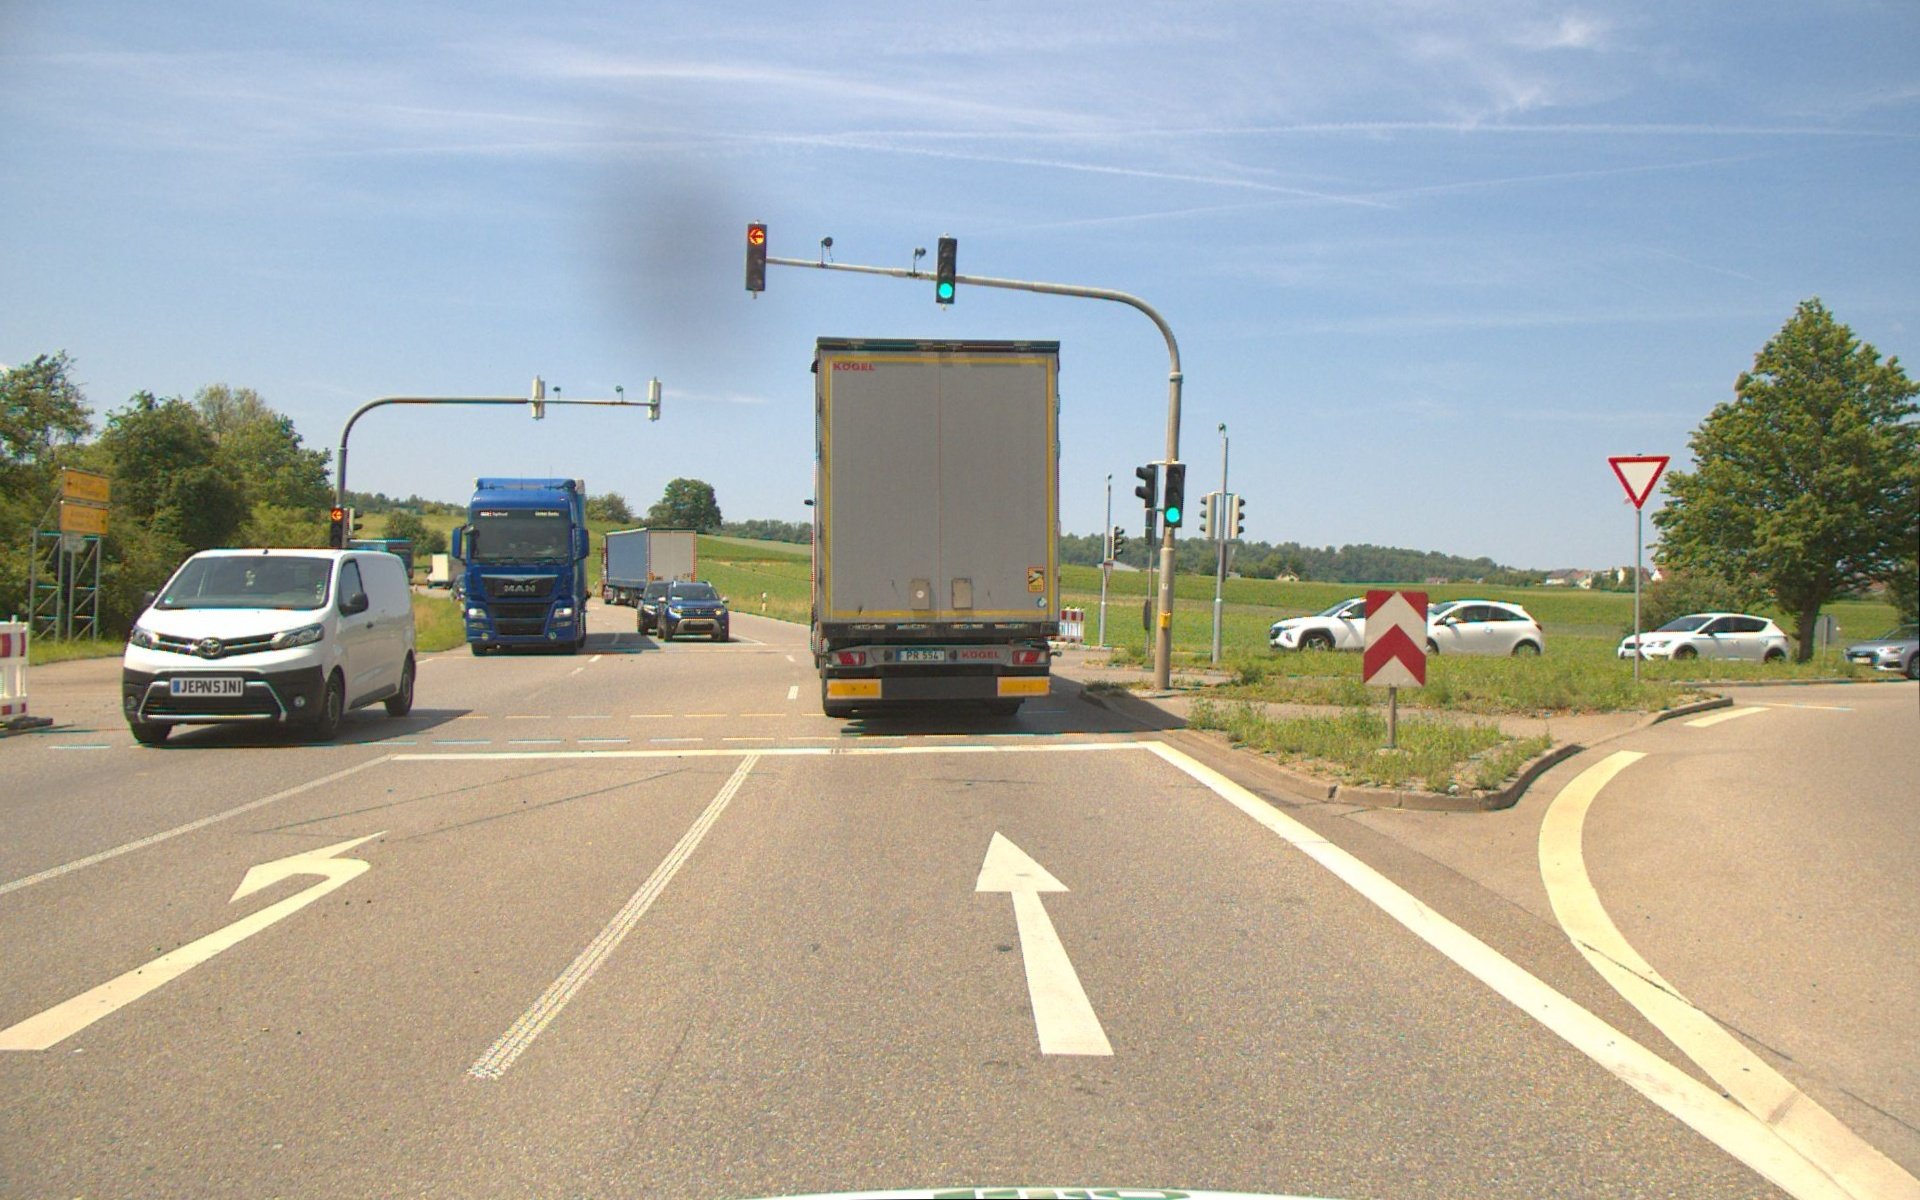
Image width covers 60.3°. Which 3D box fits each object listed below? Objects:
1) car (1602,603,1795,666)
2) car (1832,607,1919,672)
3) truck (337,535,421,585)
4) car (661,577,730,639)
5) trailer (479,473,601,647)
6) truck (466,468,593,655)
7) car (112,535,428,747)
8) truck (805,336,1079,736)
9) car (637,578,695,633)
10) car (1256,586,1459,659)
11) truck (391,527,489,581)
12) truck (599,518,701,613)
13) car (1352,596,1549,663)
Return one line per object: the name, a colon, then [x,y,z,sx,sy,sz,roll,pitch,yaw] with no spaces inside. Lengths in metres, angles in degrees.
car: [17.517,0.819,39.272,4.028,1.444,1.792,1,-1,-18]
car: [24.016,1.020,41.076,4.486,1.536,1.788,2,-2,-23]
truck: [-55.211,-3.720,156.785,3.504,4.315,13.223,2,-2,-38]
car: [-7.536,0.206,46.872,1.740,1.687,3.988,0,0,-12]
trailer: [-11.385,-1.032,45.824,2.521,4.100,13.557,0,1,-11]
truck: [-10.204,-0.893,39.721,2.521,4.100,6.542,0,1,-11]
car: [-7.098,0.367,17.613,1.835,1.919,4.943,0,0,-7]
truck: [-0.515,-0.661,21.545,2.753,4.015,9.582,1,0,-4]
car: [-9.420,0.164,52.847,1.739,1.687,3.989,0,0,-11]
car: [9.909,0.587,41.402,4.535,1.635,1.996,2,-2,-5]
truck: [-45.149,-3.857,143.365,3.613,4.202,12.913,2,-2,-39]
truck: [-17.104,-1.793,90.139,2.917,4.664,16.220,0,0,-20]
car: [11.062,0.675,37.394,3.886,1.444,1.824,1,-1,-9]
